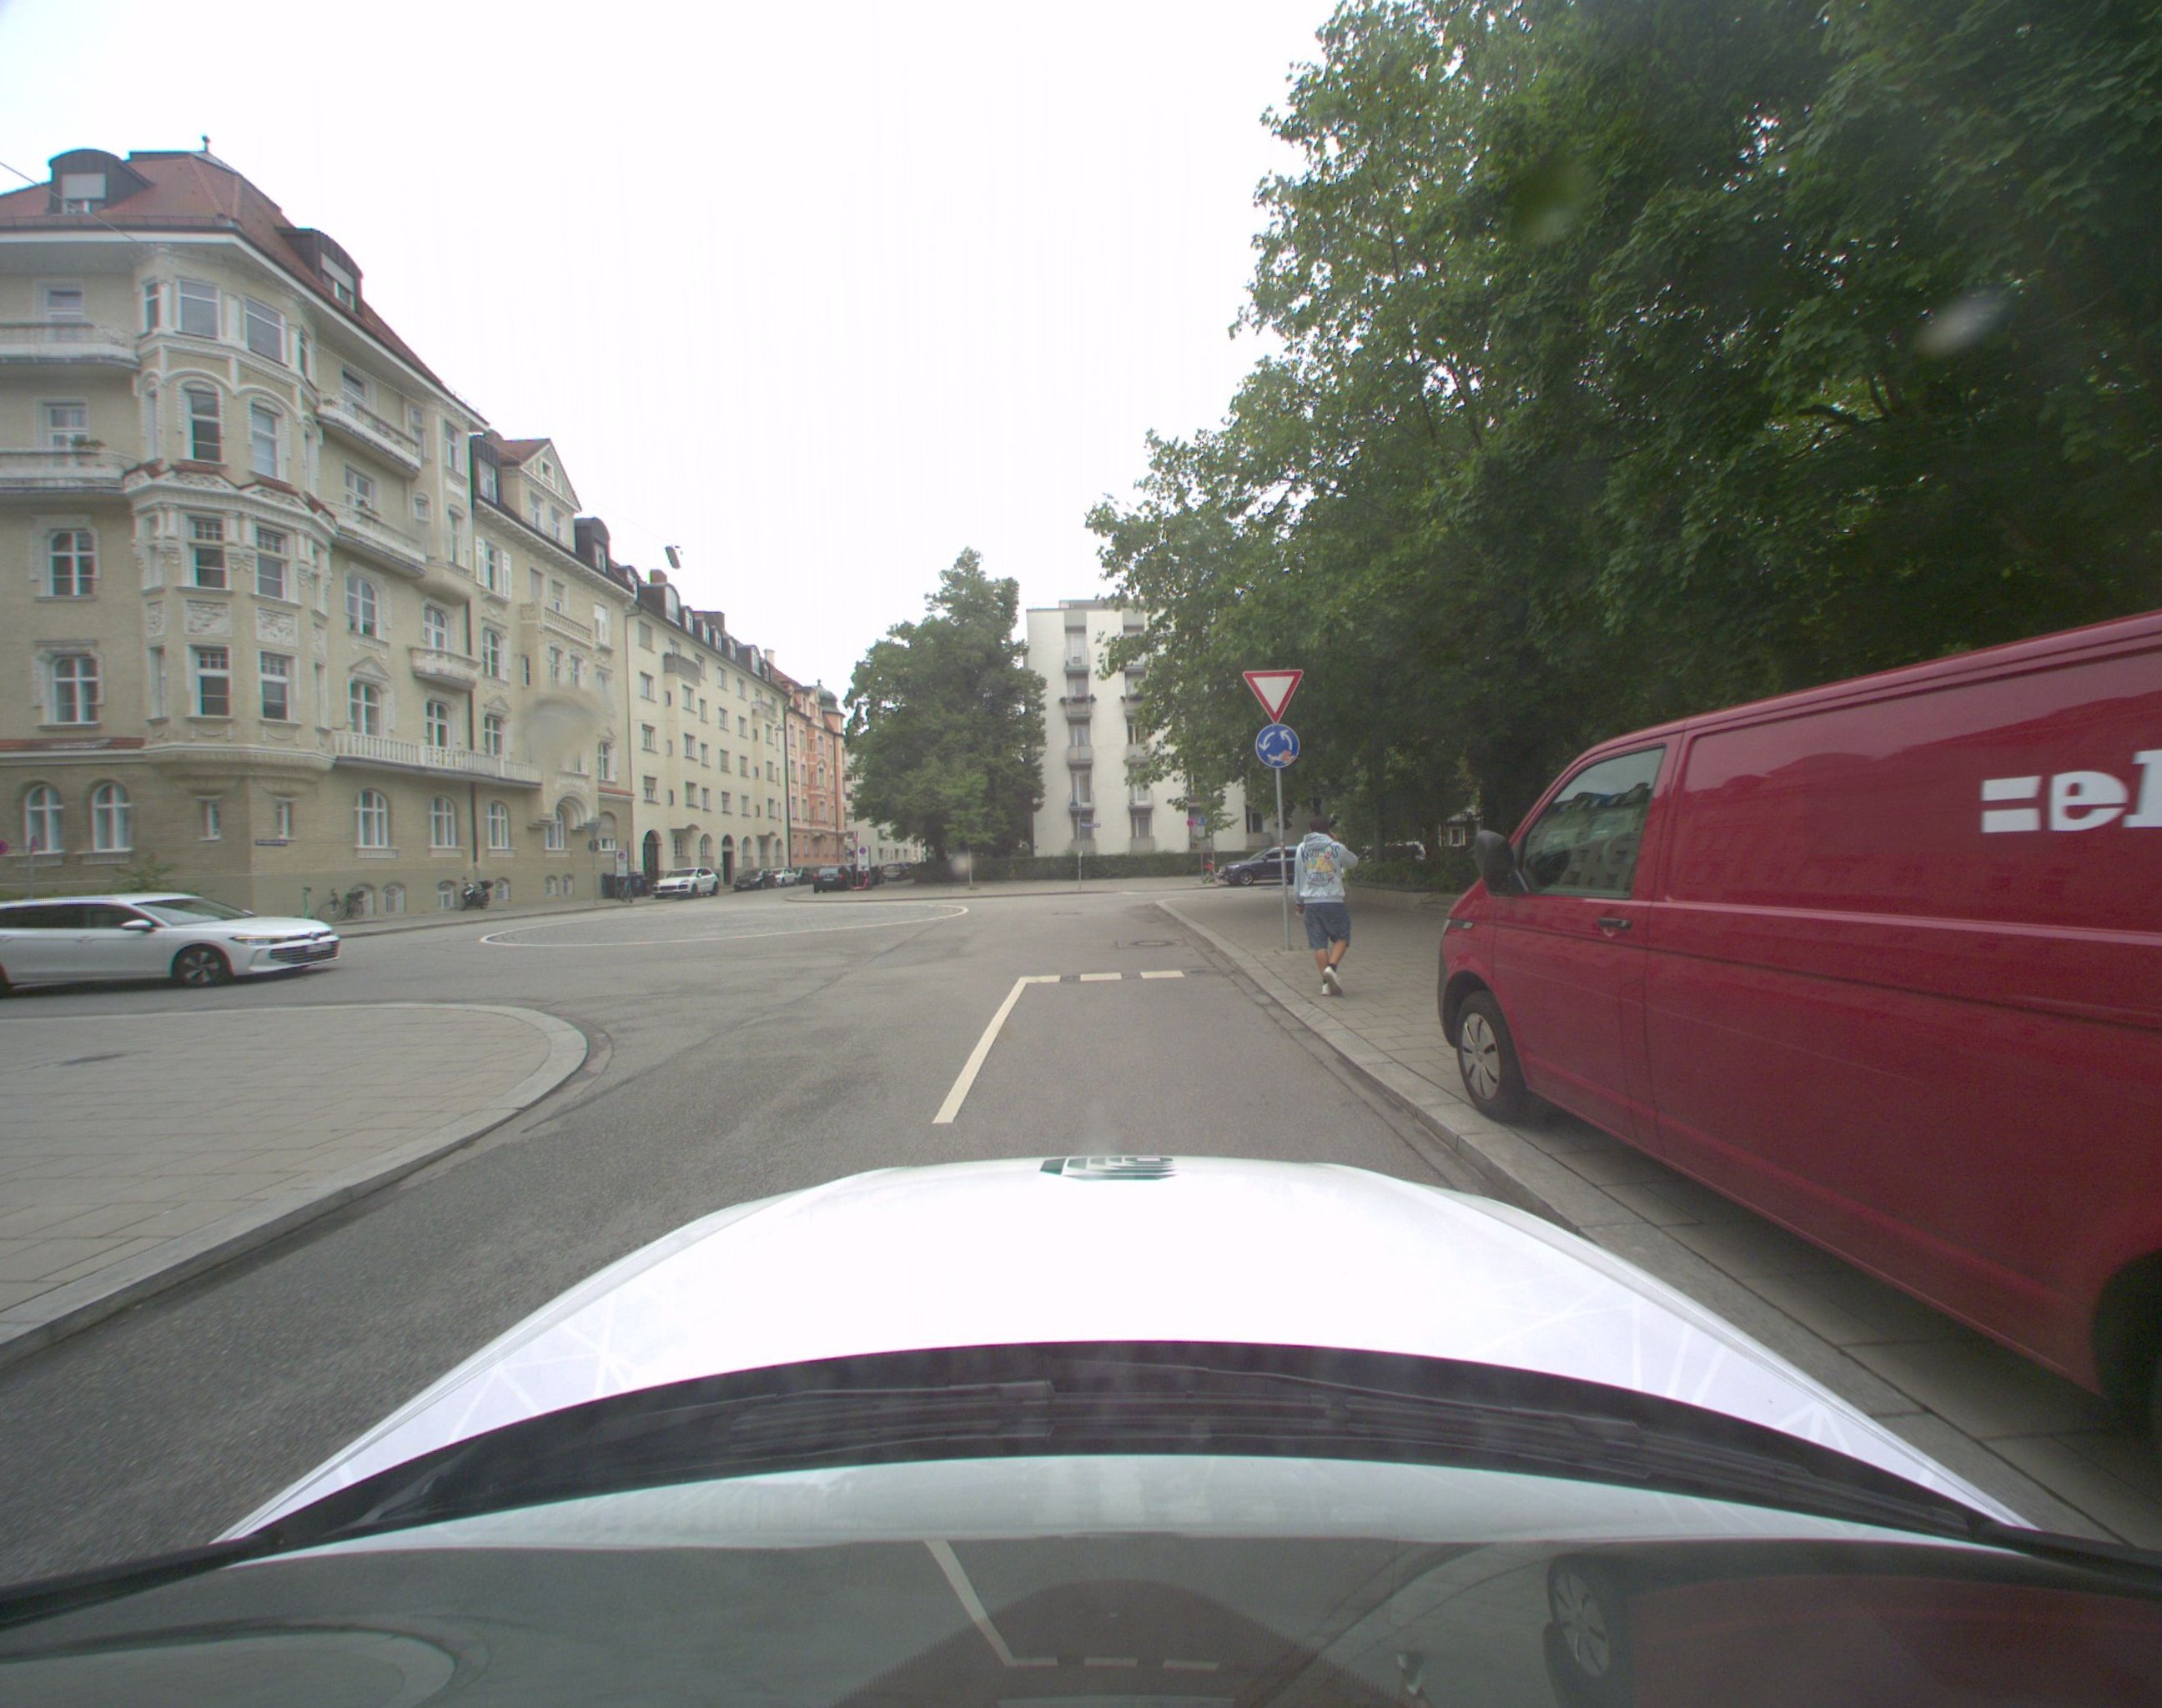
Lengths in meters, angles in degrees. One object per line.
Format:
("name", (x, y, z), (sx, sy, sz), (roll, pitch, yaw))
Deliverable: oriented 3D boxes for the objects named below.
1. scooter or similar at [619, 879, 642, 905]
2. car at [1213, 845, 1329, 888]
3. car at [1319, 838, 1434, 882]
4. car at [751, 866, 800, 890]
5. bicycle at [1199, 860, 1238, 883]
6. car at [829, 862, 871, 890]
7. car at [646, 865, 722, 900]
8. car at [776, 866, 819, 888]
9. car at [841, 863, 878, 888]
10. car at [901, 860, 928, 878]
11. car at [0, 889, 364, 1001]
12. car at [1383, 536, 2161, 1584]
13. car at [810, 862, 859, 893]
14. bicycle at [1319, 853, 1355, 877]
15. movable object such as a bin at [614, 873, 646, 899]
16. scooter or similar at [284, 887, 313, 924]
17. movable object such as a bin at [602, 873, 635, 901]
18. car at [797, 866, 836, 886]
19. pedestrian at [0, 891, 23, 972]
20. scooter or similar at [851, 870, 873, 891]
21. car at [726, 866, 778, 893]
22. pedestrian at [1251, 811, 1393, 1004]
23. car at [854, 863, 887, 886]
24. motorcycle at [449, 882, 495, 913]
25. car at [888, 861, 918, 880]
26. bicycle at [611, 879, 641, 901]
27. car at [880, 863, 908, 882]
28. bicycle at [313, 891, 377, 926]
("scooter or similar", (-21.727, 1.834, 39.261), (1.199, 1.193, 0.471), (-2, -1, 36))
("car", (8.829, 0.567, 38.081), (4.893, 1.792, 1.995), (-2, -1, -8))
("car", (14.066, 0.282, 38.888), (4.831, 1.918, 1.830), (-2, -1, -9))
("car", (-22.409, 1.743, 59.895), (1.970, 1.581, 4.405), (-2, 0, -1))
("bicycle", (6.828, 0.871, 40.328), (1.827, 1.049, 0.489), (-2, 0, -14))
("car", (-14.097, 1.325, 49.975), (1.792, 1.505, 4.223), (-3, 0, -8))
("car", (-21.558, 1.521, 44.487), (1.971, 1.700, 4.834), (-2, 0, -3))
("car", (-22.583, 1.802, 65.056), (1.970, 1.581, 4.405), (-2, 0, -1))
("car", (-14.764, 1.390, 54.508), (1.792, 1.505, 4.104), (-3, 0, -8))
("car", (-16.618, 1.505, 81.578), (1.829, 1.634, 3.819), (-3, 0, 0))
("car", (-15.083, 1.421, 13.191), (4.875, 1.448, 1.884), (-2, 0, -10))
("car", (2.914, 0.373, 2.877), (1.868, 1.920, 4.887), (-1, 0, 0))
("car", (-13.477, 1.262, 44.761), (1.817, 1.505, 4.410), (-3, 0, -8))
("bicycle", (12.837, 0.559, 40.911), (0.539, 1.149, 1.813), (-2, 0, -30))
("movable object such as a bin", (-25.397, 1.790, 45.890), (1.088, 1.425, 1.173), (-2, 0, -1))
("scooter or similar", (-24.841, 1.625, 25.854), (0.470, 1.115, 1.202), (-1, -1, -35))
("movable object such as a bin", (-25.381, 1.793, 44.694), (1.088, 1.425, 1.173), (-2, 0, -1))
("car", (-22.700, 1.856, 70.053), (1.970, 1.581, 4.406), (-2, 0, -1))
("pedestrian", (-22.296, 1.593, 16.429), (0.731, 1.636, 0.853), (-2, -1, -9))
("scooter or similar", (-11.325, 1.366, 42.142), (1.005, 1.088, 0.387), (-1, -1, -31))
("car", (-22.149, 1.668, 55.023), (1.973, 1.616, 4.703), (-2, 0, -6))
("pedestrian", (2.412, 0.492, 8.146), (1.058, 1.771, 0.866), (-2, -1, -41))
("car", (-15.545, 1.472, 60.235), (1.792, 1.505, 4.104), (-3, 0, -8))
("motorcycle", (-25.290, 1.785, 33.867), (0.597, 1.176, 1.828), (-2, 0, -3))
("car", (-16.551, 1.499, 75.912), (1.830, 1.634, 4.112), (-3, 0, -2))
("bicycle", (-23.438, 1.862, 42.008), (0.561, 1.049, 1.828), (-2, 0, -3))
("car", (-16.336, 1.608, 71.308), (1.833, 1.505, 4.107), (-3, 0, -6))
("bicycle", (-25.168, 1.841, 27.882), (0.561, 1.049, 1.828), (-2, 0, -3))
